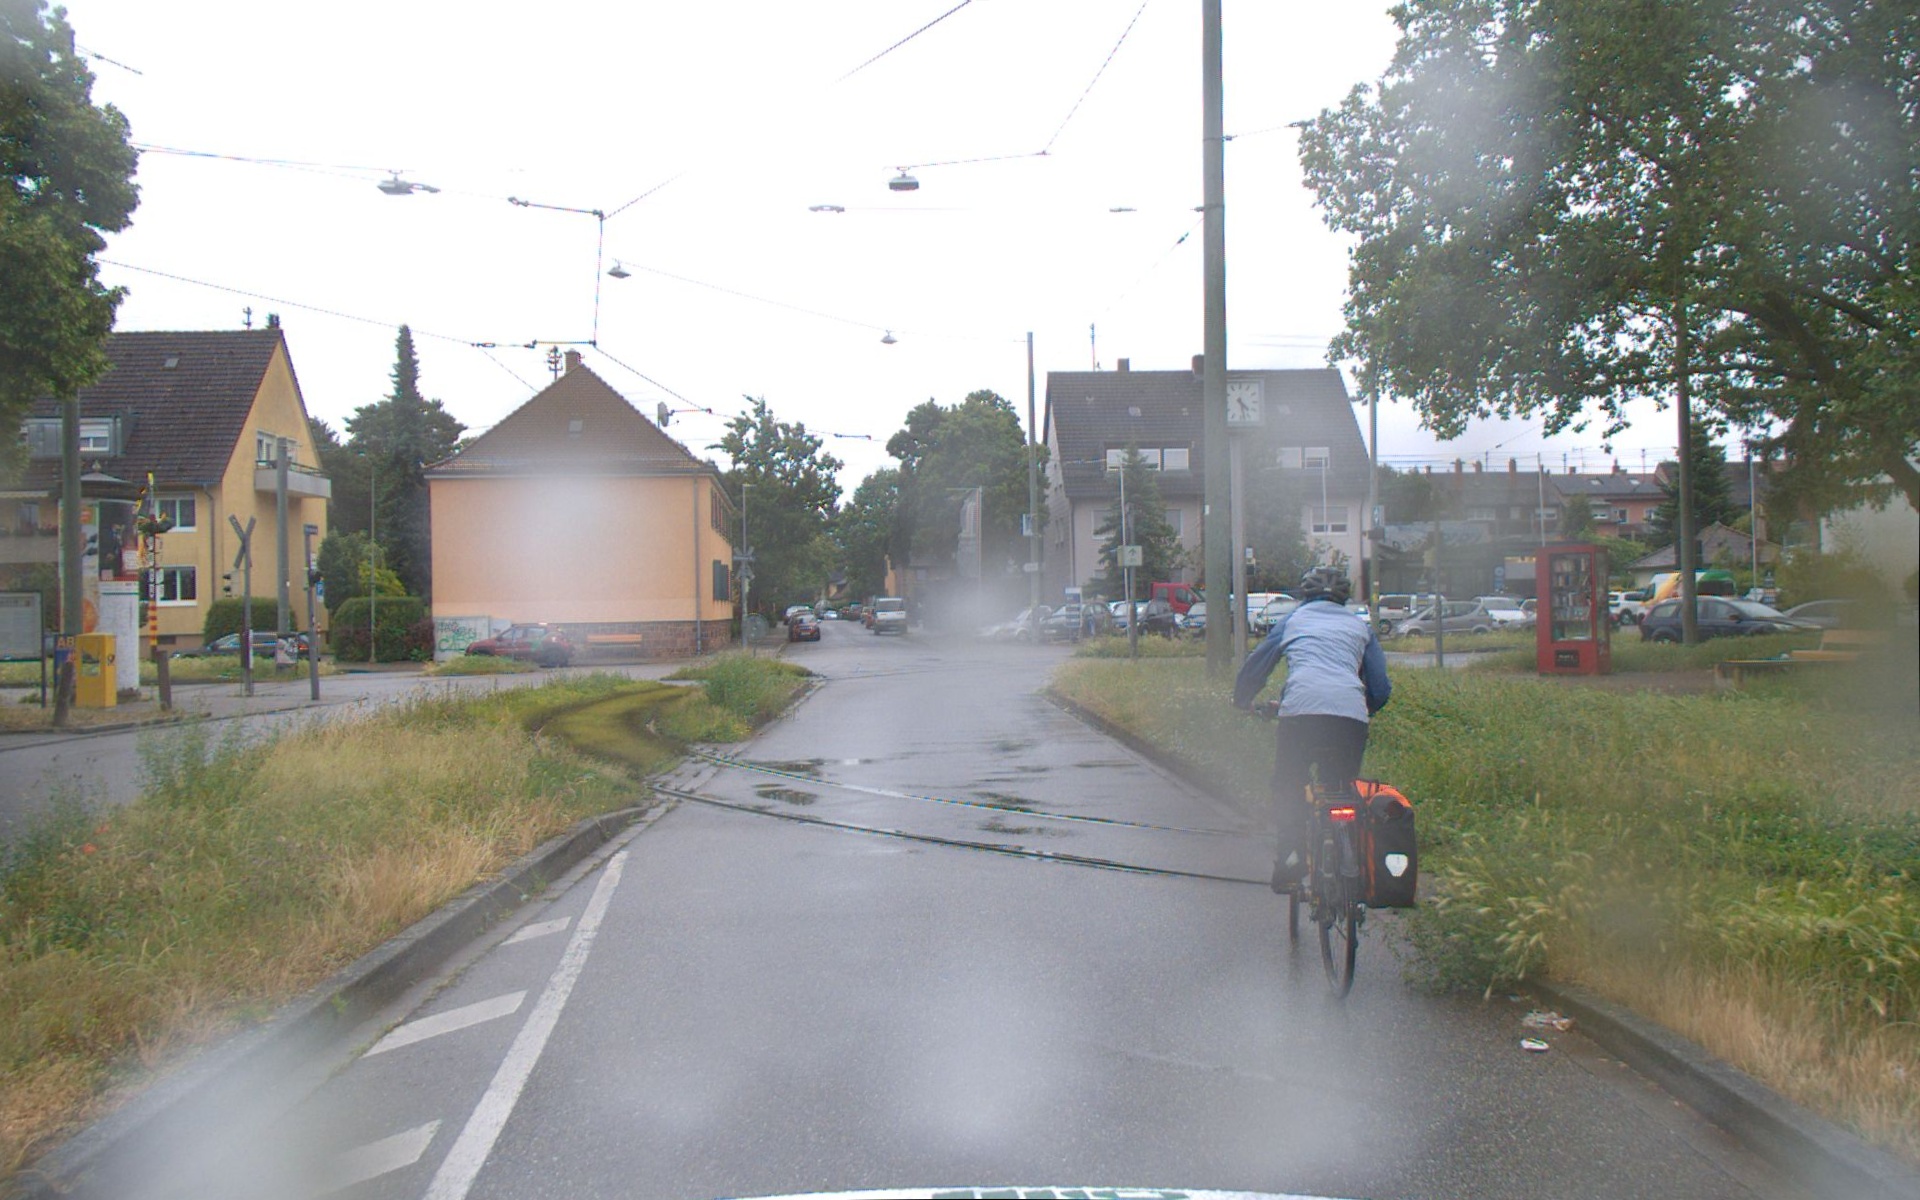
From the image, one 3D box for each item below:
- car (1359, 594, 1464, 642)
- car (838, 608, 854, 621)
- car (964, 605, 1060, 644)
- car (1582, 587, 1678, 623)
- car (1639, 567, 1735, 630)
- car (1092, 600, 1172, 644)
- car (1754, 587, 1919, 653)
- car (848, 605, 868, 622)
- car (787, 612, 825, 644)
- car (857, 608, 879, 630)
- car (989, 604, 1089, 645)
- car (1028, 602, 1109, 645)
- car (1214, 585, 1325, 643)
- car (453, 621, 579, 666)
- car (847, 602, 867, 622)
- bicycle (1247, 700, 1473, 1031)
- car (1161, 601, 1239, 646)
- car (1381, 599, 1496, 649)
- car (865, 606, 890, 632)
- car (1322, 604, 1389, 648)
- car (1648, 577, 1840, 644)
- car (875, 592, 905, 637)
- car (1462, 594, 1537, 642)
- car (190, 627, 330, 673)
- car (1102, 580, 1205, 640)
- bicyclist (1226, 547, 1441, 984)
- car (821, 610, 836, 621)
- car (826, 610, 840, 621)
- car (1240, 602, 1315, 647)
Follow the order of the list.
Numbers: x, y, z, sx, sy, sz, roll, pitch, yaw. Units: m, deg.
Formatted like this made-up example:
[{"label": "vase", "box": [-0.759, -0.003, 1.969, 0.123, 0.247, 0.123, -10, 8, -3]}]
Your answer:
[{"label": "car", "box": [19.252, 0.768, 70.566, 3.906, 1.985, 1.999, 1, -1, -2]}, {"label": "car", "box": [-14.148, 1.843, 205.529, 1.768, 1.591, 3.998, 1, -1, -2]}, {"label": "car", "box": [2.338, 1.087, 74.212, 3.954, 1.672, 1.975, 2, -1, -36]}, {"label": "car", "box": [32.357, 0.237, 79.908, 3.905, 1.669, 1.846, 1, -1, 0]}, {"label": "car", "box": [29.939, -0.050, 68.246, 1.953, 2.485, 4.352, 1, -1, -1]}, {"label": "car", "box": [6.894, 0.884, 65.811, 1.954, 1.669, 3.997, 1, -1, 25]}, {"label": "car", "box": [19.119, 0.436, 34.882, 3.902, 1.308, 1.848, 1, -1, 7]}, {"label": "car", "box": [-10.098, 1.370, 163.780, 1.768, 1.591, 3.998, 1, -1, -2]}, {"label": "car", "box": [-8.358, 1.497, 89.980, 1.768, 1.680, 3.998, 1, -1, -2]}, {"label": "car", "box": [-7.903, 1.626, 141.687, 1.768, 1.843, 3.998, 1, -1, -2]}, {"label": "car", "box": [3.392, 1.048, 71.144, 3.954, 1.705, 1.975, 2, -1, -36]}, {"label": "car", "box": [4.446, 0.972, 67.055, 1.954, 1.669, 3.997, 1, -1, 25]}, {"label": "car", "box": [13.175, 0.609, 70.529, 4.306, 2.366, 1.999, 1, -1, -2]}, {"label": "car", "box": [-15.220, 1.492, 56.861, 3.910, 1.482, 1.831, 1, -1, -6]}, {"label": "car", "box": [-9.901, 1.185, 158.925, 1.768, 1.843, 3.998, 1, -1, -2]}, {"label": "bicycle", "box": [1.524, 0.964, 6.544, 0.437, 1.022, 1.727, -1, 0, -1]}, {"label": "car", "box": [9.421, 0.911, 64.643, 1.954, 1.669, 3.997, 1, -1, 25]}, {"label": "car", "box": [17.153, 0.856, 59.395, 3.609, 1.731, 1.890, 1, -1, 1]}, {"label": "car", "box": [-6.070, 1.404, 122.205, 1.768, 1.843, 3.998, 1, -1, -2]}, {"label": "car", "box": [15.645, 1.022, 65.253, 1.804, 1.669, 3.997, 0, -1, 25]}, {"label": "car", "box": [18.834, 0.251, 39.820, 3.849, 1.522, 1.798, 0, -1, 44]}, {"label": "car", "box": [-4.340, 0.891, 102.337, 1.768, 2.673, 3.998, 1, -1, -2]}, {"label": "car", "box": [21.668, 0.735, 66.583, 1.951, 1.822, 4.002, 1, -1, 4]}, {"label": "car", "box": [-23.492, 1.674, 55.613, 3.910, 1.482, 1.831, 1, -1, -6]}, {"label": "car", "box": [8.688, 0.459, 74.097, 4.302, 2.611, 2.001, 1, -1, 15]}, {"label": "bicyclist", "box": [1.494, 0.636, 6.734, 0.653, 1.654, 0.852, 1, -1, -1]}, {"label": "car", "box": [-18.147, 2.120, 227.999, 1.768, 1.486, 3.998, 1, -1, -2]}, {"label": "car", "box": [-17.106, 2.068, 222.709, 1.768, 1.486, 3.998, 1, -1, -2]}, {"label": "car", "box": [12.478, 0.964, 64.862, 1.954, 1.669, 3.997, 1, -1, 25]}]
